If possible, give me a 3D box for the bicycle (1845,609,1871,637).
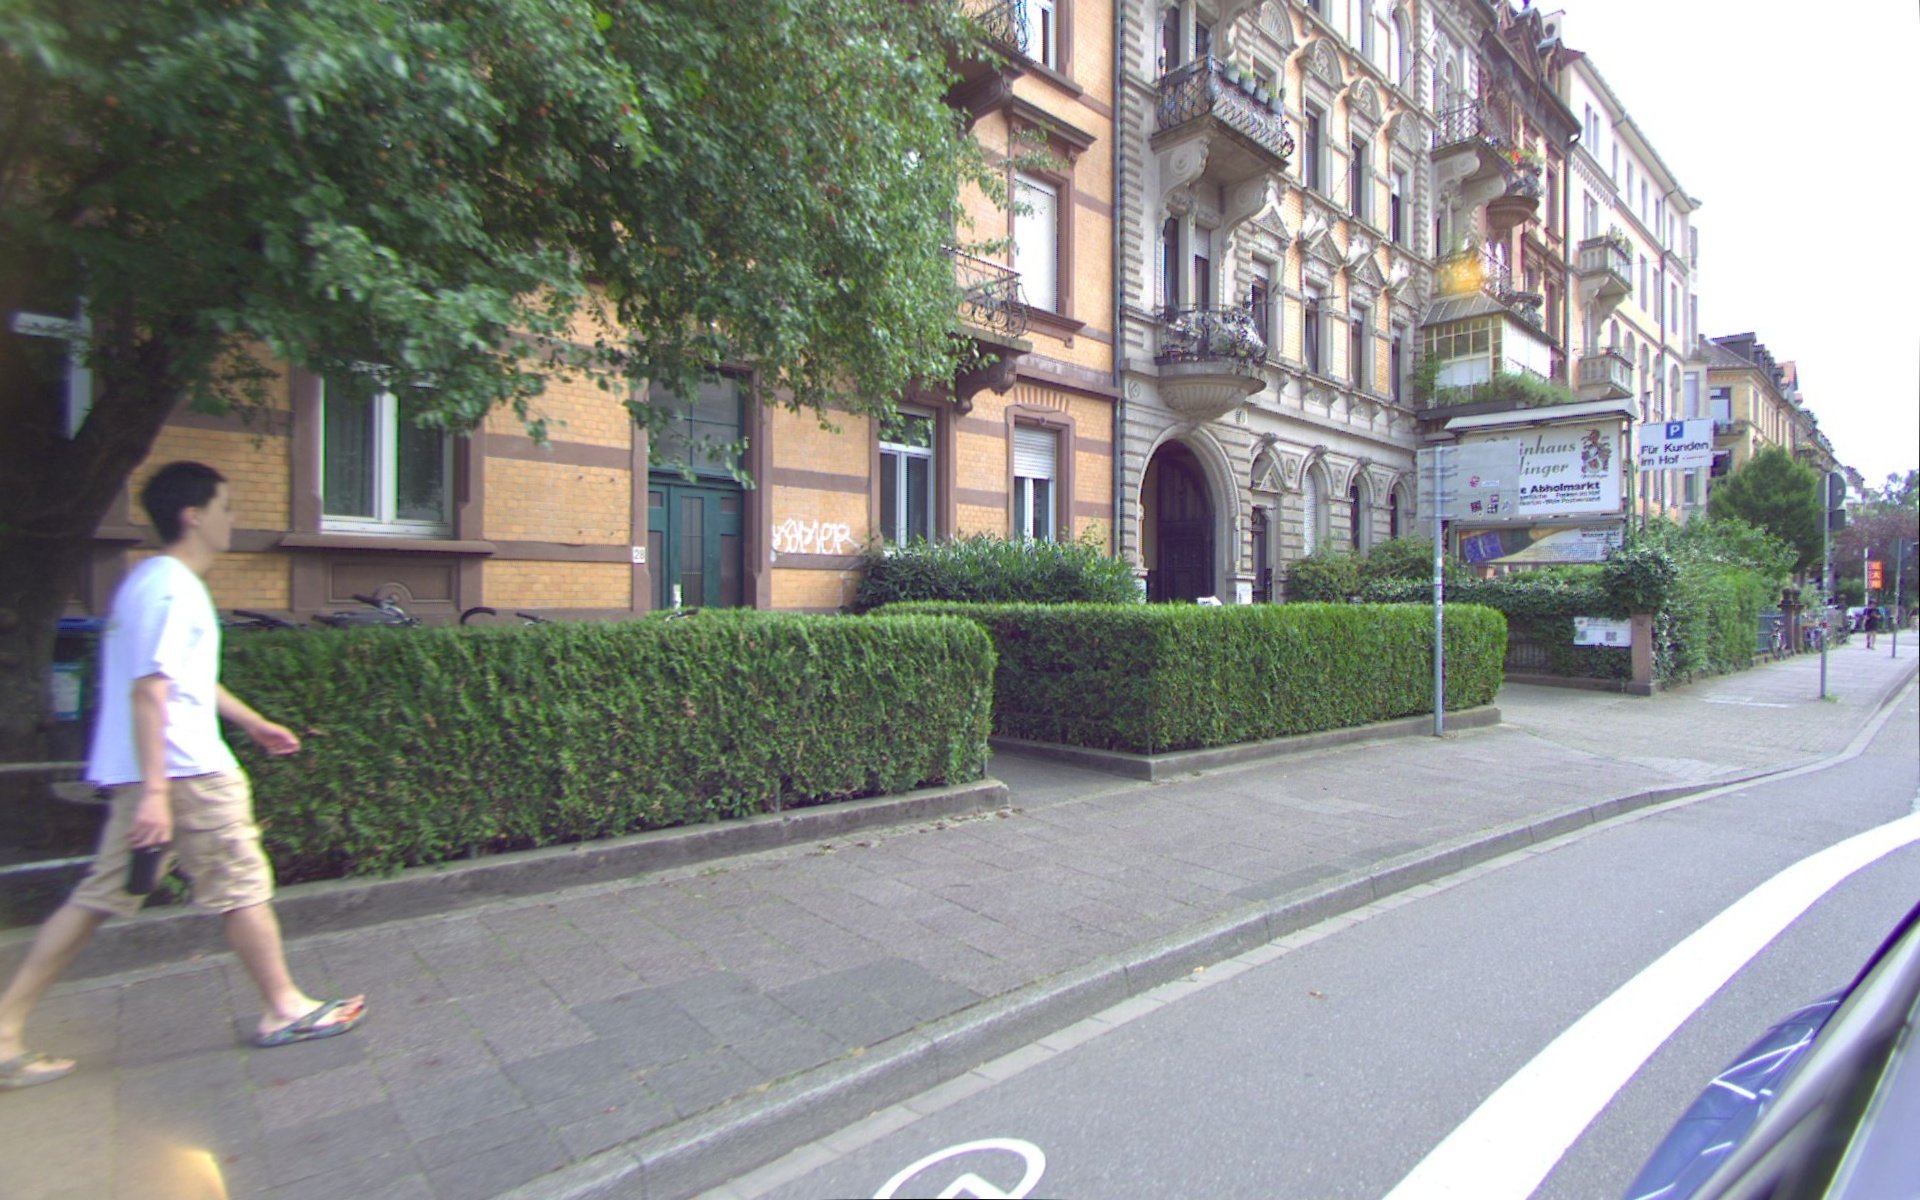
[{"bbox_3d":[33.526,0.841,37.795,0.579,0.995,1.645,5,3,45],"label":"bicycle"}]

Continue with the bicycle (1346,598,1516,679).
[{"bbox_3d":[8.219,0.630,17.780,2.624,1.328,0.758,0,0,44],"label":"bicycle"}]

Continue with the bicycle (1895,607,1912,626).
[{"bbox_3d":[56.461,0.968,60.564,1.843,1.127,0.629,0,0,-43],"label":"bicycle"}]

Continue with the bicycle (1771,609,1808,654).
[{"bbox_3d":[21.571,0.794,26.311,0.579,1.126,1.645,0,0,45],"label":"bicycle"}]

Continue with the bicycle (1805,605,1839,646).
[{"bbox_3d":[25.446,0.741,29.881,0.579,1.125,1.645,5,3,45],"label":"bicycle"}]

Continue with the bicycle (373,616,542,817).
[{"bbox_3d":[-3.013,0.621,6.002,0.437,1.021,1.545,1,0,-45],"label":"bicycle"}]

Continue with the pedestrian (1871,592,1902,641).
[{"bbox_3d":[31.603,0.555,34.525,0.821,1.644,0.731,1,-1,-44],"label":"pedestrian"}]

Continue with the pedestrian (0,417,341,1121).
[{"bbox_3d":[-2.444,0.425,3.010,0.932,1.776,0.732,1,-1,-39],"label":"pedestrian"}]

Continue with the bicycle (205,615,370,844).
[{"bbox_3d":[-3.598,0.608,5.369,0.437,1.021,1.545,1,0,-45],"label":"bicycle"}]

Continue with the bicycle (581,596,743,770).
[{"bbox_3d":[-2.304,0.572,7.724,0.509,1.196,1.545,1,0,-45],"label":"bicycle"}]

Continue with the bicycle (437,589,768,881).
[{"bbox_3d":[-1.785,0.599,5.207,1.523,1.298,0.517,0,0,-42],"label":"bicycle"}]

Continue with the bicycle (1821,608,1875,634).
[{"bbox_3d":[39.510,0.915,45.047,1.838,1.127,0.631,0,0,-1],"label":"bicycle"}]

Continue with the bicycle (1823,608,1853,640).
[{"bbox_3d":[29.334,0.802,33.798,0.579,0.995,1.645,5,3,45],"label":"bicycle"}]

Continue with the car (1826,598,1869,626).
[{"bbox_3d":[50.934,0.666,58.115,1.749,1.544,3.941,0,0,40],"label":"car"}]

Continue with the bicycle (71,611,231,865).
[{"bbox_3d":[-3.936,0.577,4.885,0.437,1.021,1.545,1,0,-45],"label":"bicycle"}]

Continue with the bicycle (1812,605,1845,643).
[{"bbox_3d":[26.824,0.728,31.249,0.579,1.125,1.645,5,3,45],"label":"bicycle"}]

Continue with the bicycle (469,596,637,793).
[{"bbox_3d":[-2.815,0.577,6.922,0.509,1.196,1.545,1,0,-45],"label":"bicycle"}]

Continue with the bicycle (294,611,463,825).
[{"bbox_3d":[-3.290,0.584,5.664,0.437,1.021,1.545,1,0,-45],"label":"bicycle"}]
